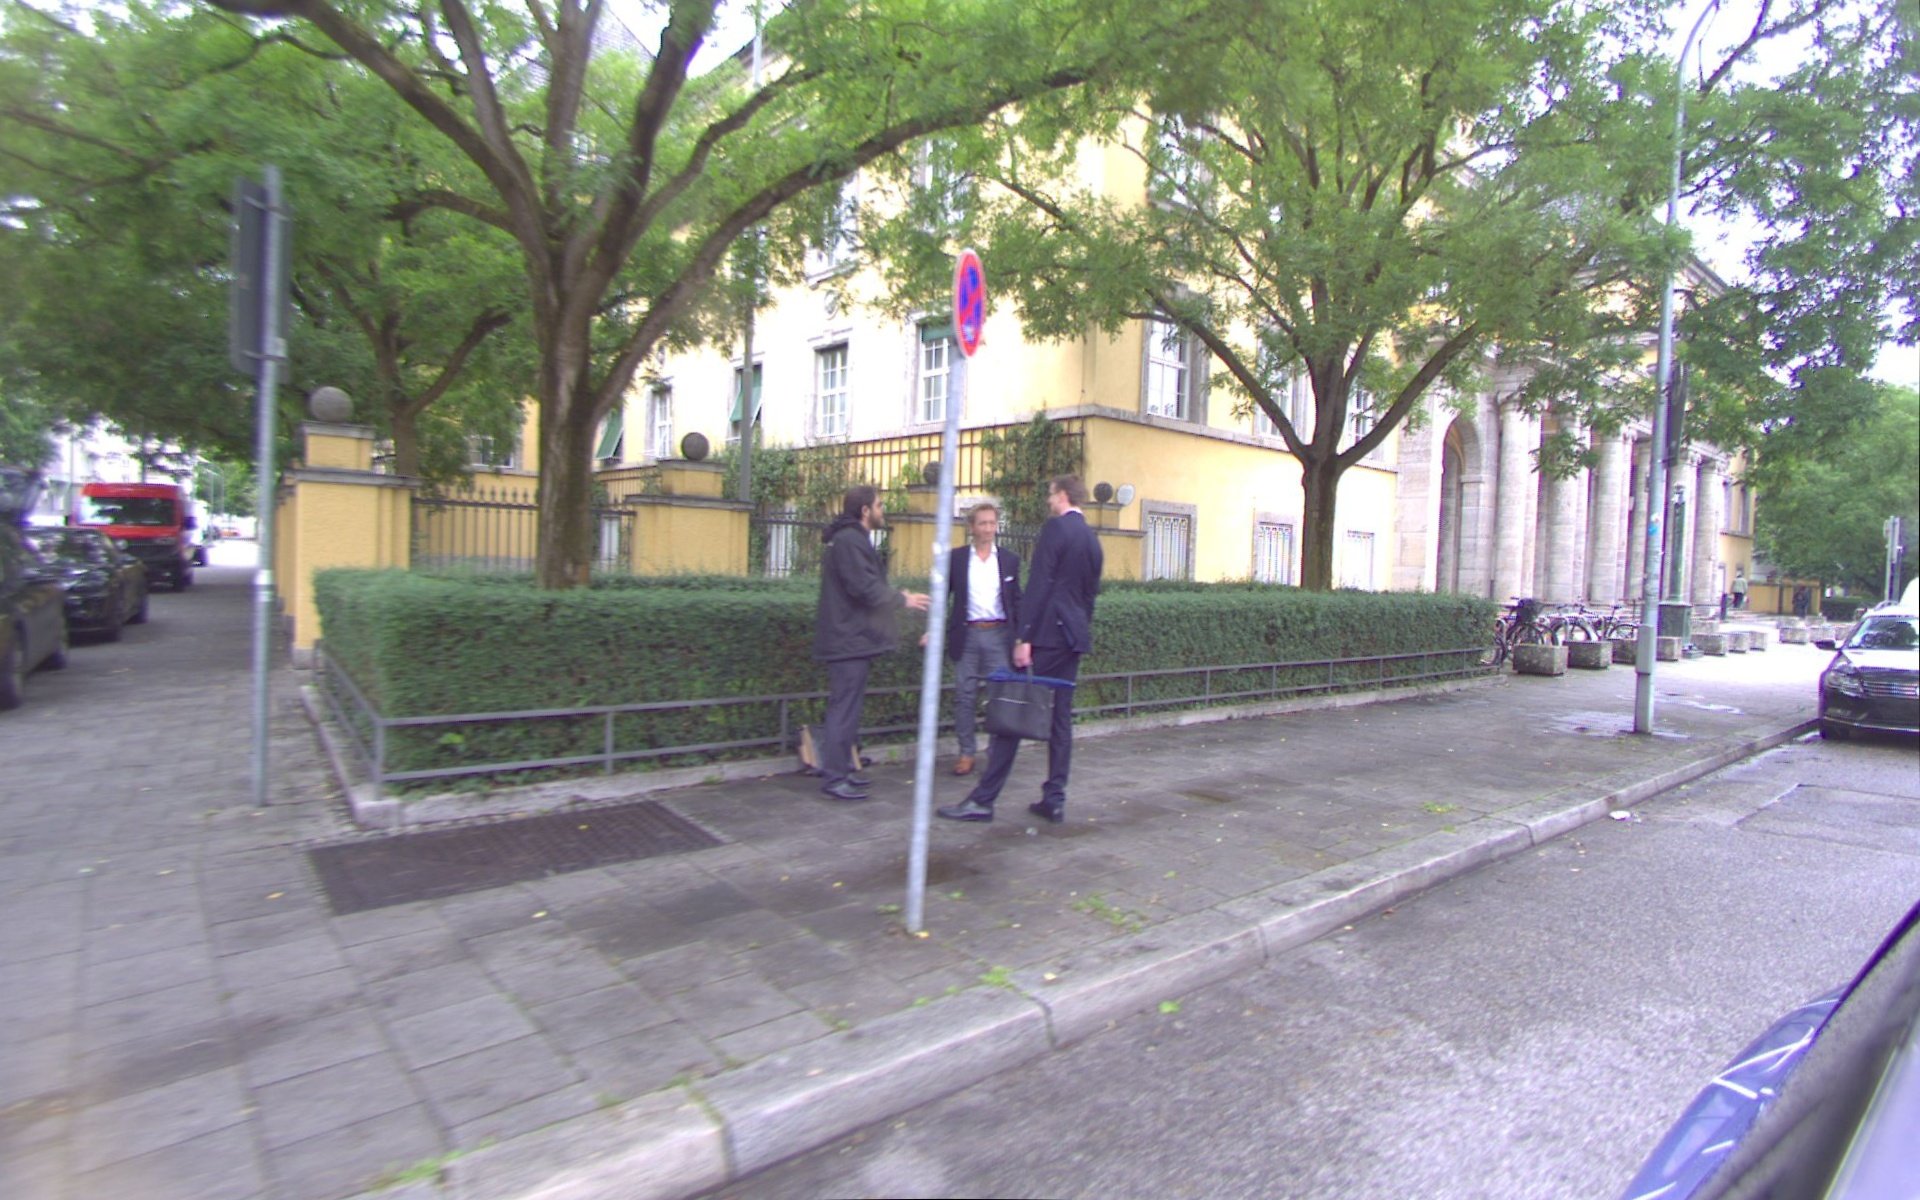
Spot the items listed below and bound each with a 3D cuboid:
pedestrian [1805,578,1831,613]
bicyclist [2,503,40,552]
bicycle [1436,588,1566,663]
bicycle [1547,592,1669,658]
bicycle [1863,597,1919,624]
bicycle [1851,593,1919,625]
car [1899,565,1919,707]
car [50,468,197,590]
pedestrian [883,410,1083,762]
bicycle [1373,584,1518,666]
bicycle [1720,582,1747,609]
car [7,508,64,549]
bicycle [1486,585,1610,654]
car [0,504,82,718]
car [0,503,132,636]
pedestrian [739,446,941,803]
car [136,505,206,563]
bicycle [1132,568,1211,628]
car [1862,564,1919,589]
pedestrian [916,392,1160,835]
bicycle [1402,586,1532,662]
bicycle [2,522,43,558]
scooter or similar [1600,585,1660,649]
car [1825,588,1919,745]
[{"bbox_3d":[44.905,-0.259,52.974,1.037,1.767,0.789,0,3,-41],"label":"pedestrian"},{"bbox_3d":[-32.031,-2.460,34.526,0.972,1.595,0.799,2,1,39],"label":"bicyclist"},{"bbox_3d":[9.511,0.417,17.867,0.462,1.127,1.938,1,4,-38],"label":"bicycle"},{"bbox_3d":[12.950,0.480,20.280,0.463,1.127,1.935,0,4,-43],"label":"bicycle"},{"bbox_3d":[42.551,0.493,45.863,2.362,1.018,0.668,8,5,41],"label":"bicycle"},{"bbox_3d":[43.088,0.406,47.134,2.256,1.107,0.593,11,8,39],"label":"bicycle"},{"bbox_3d":[15.626,0.501,15.153,5.182,1.958,1.847,0,0,-42],"label":"car"},{"bbox_3d":[-19.271,-1.614,23.569,2.113,2.491,5.699,-1,3,-35],"label":"car"},{"bbox_3d":[0.157,-0.106,6.832,1.037,2.160,0.744,0,3,-41],"label":"pedestrian"},{"bbox_3d":[7.821,0.370,16.399,0.463,1.127,2.035,0,4,-43],"label":"bicycle"},{"bbox_3d":[39.667,-0.233,51.860,2.224,1.323,0.601,0,3,-41],"label":"bicycle"},{"bbox_3d":[-54.996,-4.203,60.289,1.962,2.143,4.523,0,1,-35],"label":"car"},{"bbox_3d":[11.118,0.344,19.194,0.462,1.127,1.938,1,4,-38],"label":"bicycle"},{"bbox_3d":[-8.701,-0.034,8.308,1.834,1.504,4.220,0,3,-35],"label":"car"},{"bbox_3d":[-12.124,-0.458,13.102,1.833,1.504,4.008,0,3,-35],"label":"car"},{"bbox_3d":[-0.693,0.130,5.939,1.035,1.930,0.746,2,2,-5],"label":"pedestrian"},{"bbox_3d":[-29.832,-2.470,38.214,1.964,2.038,3.996,0,2,-40],"label":"car"},{"bbox_3d":[4.382,-0.035,20.913,1.869,1.168,0.543,1,3,-42],"label":"bicycle"},{"bbox_3d":[69.450,-1.707,74.043,1.933,1.702,4.904,0,4,-42],"label":"car"},{"bbox_3d":[0.432,0.049,5.559,1.037,2.160,0.744,0,3,-41],"label":"pedestrian"},{"bbox_3d":[8.755,0.393,17.563,0.463,1.127,1.937,1,4,-38],"label":"bicycle"},{"bbox_3d":[-31.897,-2.047,34.407,2.253,1.156,0.752,5,4,40],"label":"bicycle"},{"bbox_3d":[13.935,0.334,21.083,0.528,1.237,1.012,3,3,4],"label":"scooter or similar"},{"bbox_3d":[11.170,0.652,11.320,4.890,1.509,1.773,0,0,-43],"label":"car"}]
